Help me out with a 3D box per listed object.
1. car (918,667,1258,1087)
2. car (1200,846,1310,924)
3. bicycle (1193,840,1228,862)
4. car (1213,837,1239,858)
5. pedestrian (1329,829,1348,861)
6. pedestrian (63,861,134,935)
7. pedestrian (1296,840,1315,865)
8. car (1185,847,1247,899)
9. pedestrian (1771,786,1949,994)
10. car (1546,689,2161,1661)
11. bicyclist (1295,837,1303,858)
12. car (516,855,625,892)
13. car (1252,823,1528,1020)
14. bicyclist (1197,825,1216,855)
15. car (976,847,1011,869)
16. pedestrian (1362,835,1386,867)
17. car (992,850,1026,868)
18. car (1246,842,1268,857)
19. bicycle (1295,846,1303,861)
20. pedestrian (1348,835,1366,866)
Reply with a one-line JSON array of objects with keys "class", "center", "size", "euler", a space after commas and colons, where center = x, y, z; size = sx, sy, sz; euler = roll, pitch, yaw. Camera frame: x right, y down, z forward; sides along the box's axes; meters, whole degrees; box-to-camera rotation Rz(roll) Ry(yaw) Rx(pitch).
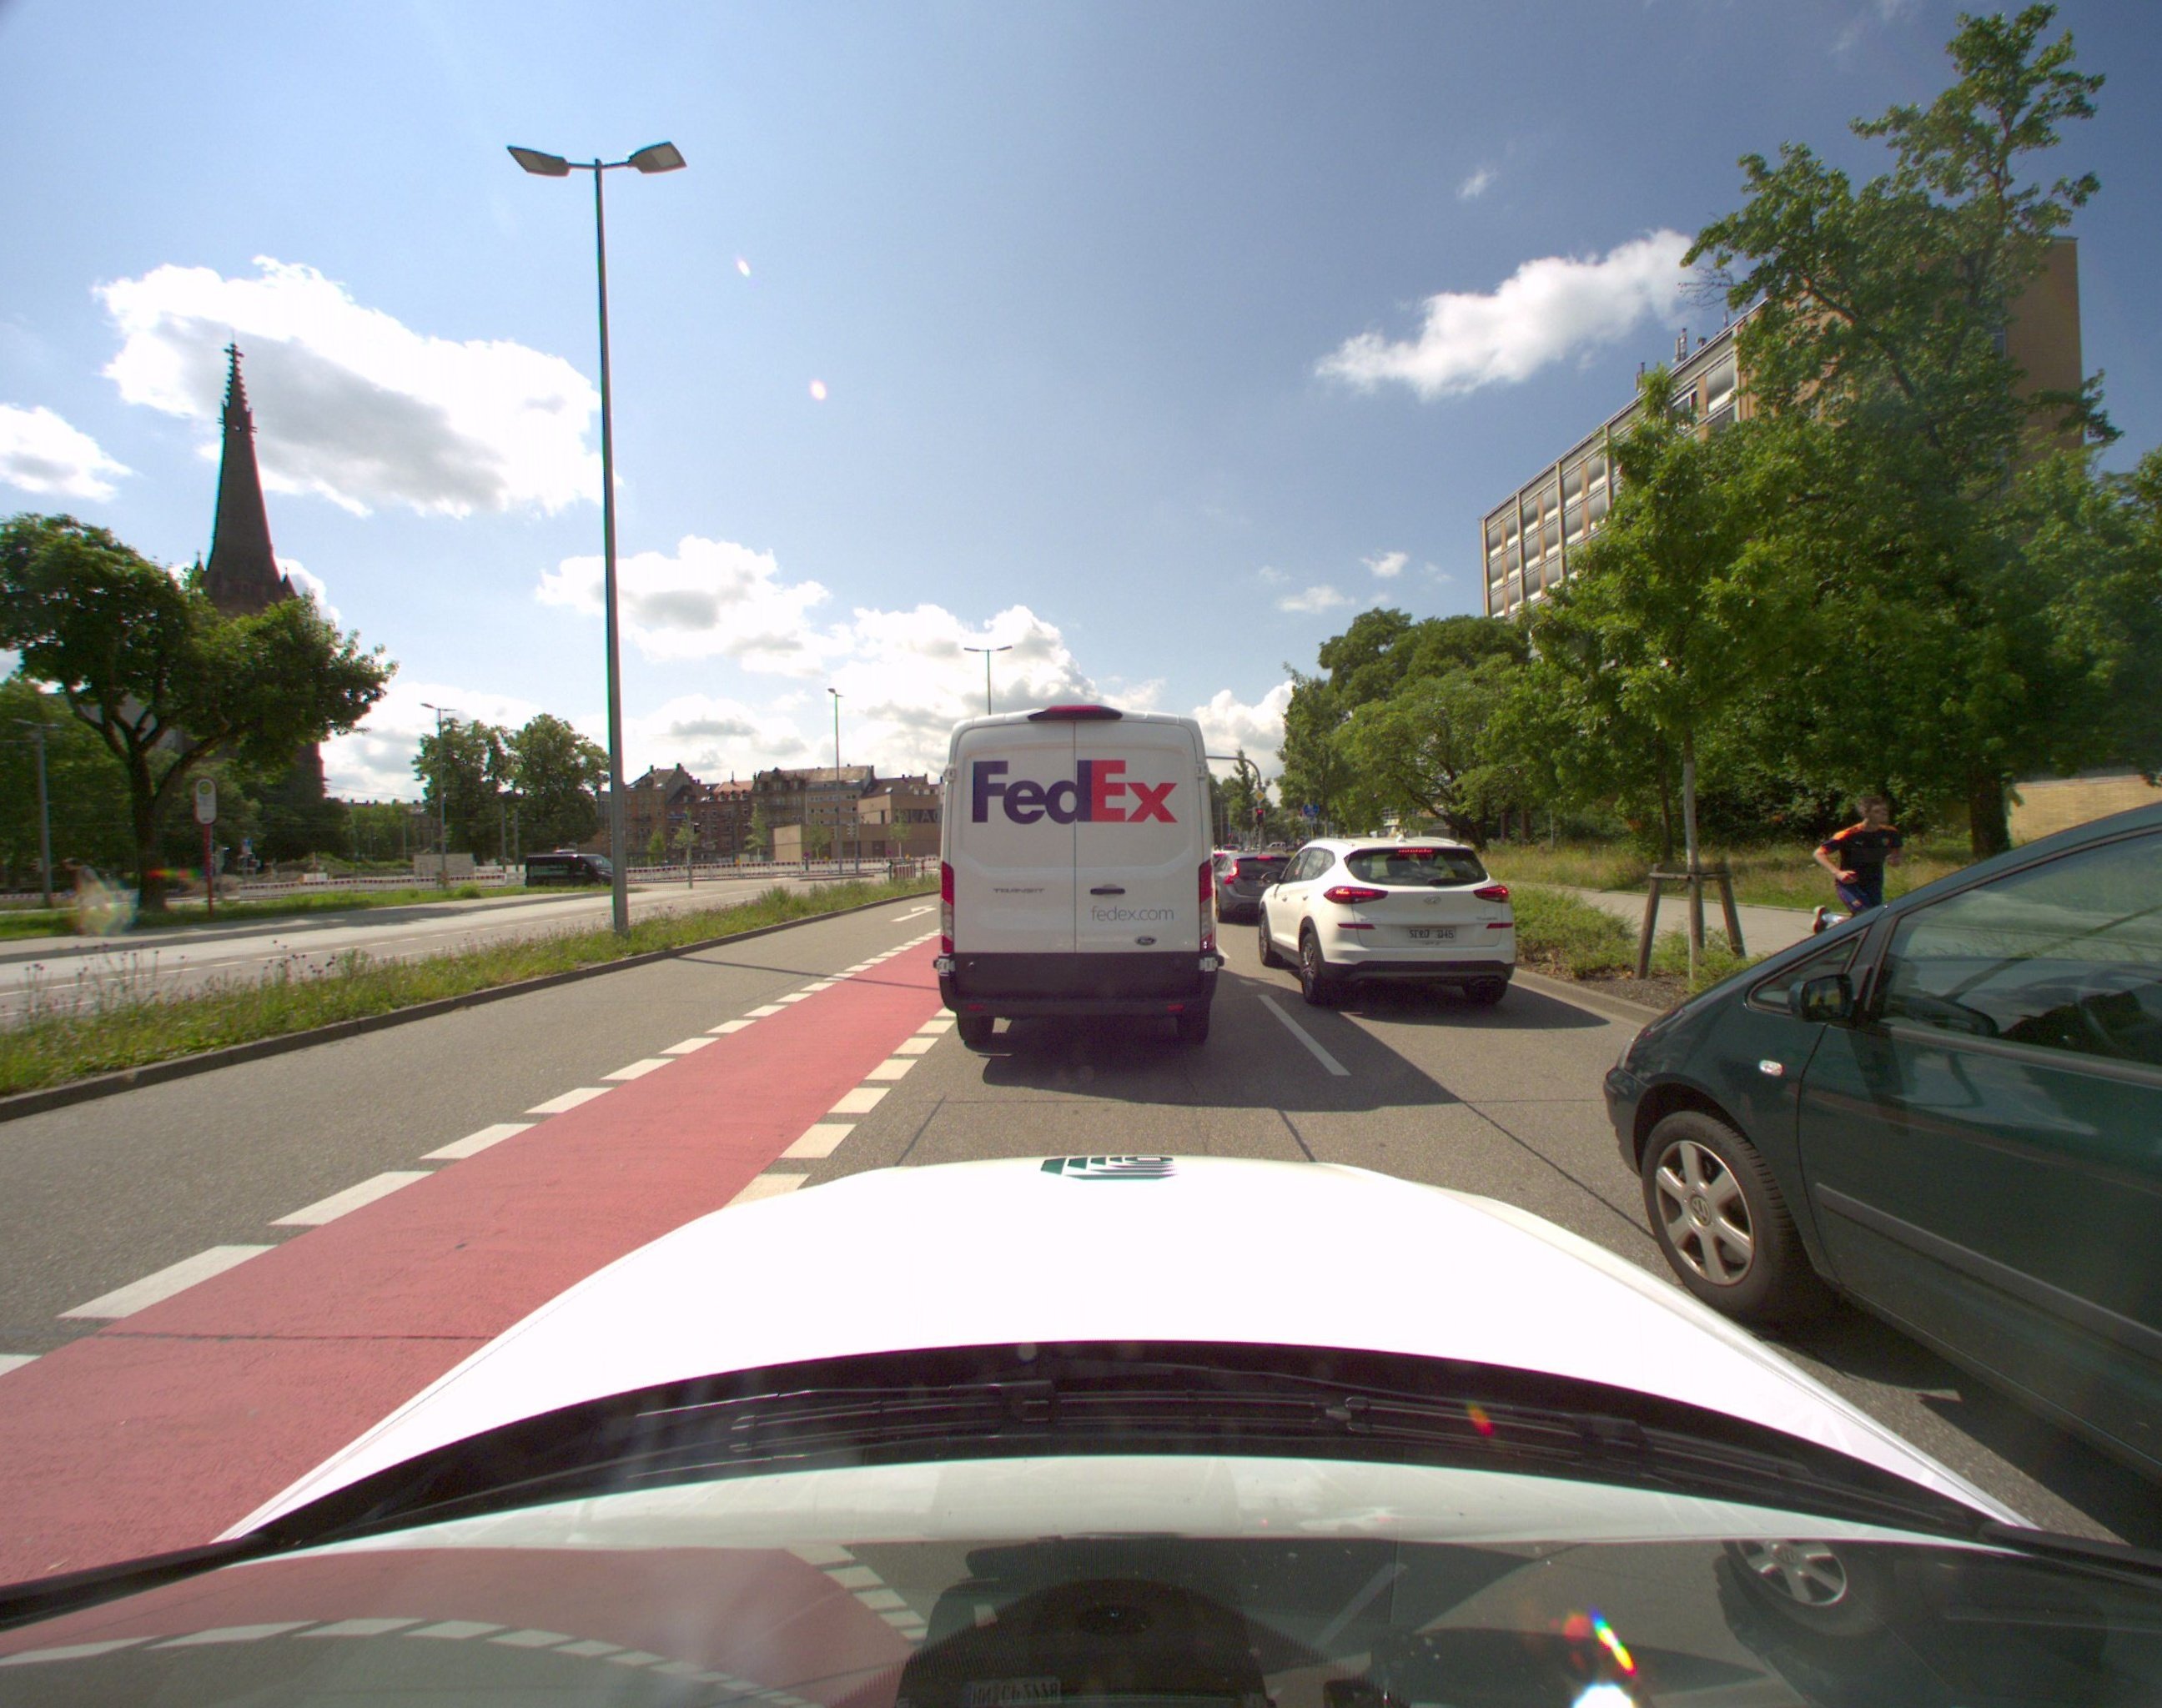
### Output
[{"class": "car", "center": [0.044, 0.137, 8.084], "size": [2.134, 2.652, 5.703], "euler": [-1, 0, 0]}, {"class": "car", "center": [3.677, 0.591, 17.831], "size": [1.790, 1.461, 3.842], "euler": [-2, 0, 4]}, {"class": "bicycle", "center": [8.067, -0.200, 50.693], "size": [2.055, 1.290, 0.605], "euler": [-2, 0, 4]}, {"class": "car", "center": [14.964, -0.647, 83.888], "size": [2.077, 2.013, 4.664], "euler": [-2, 0, 16]}, {"class": "pedestrian", "center": [16.853, -0.575, 53.274], "size": [0.849, 2.058, 0.734], "euler": [-2, 0, -27]}, {"class": "pedestrian", "center": [-21.806, 0.959, 18.082], "size": [0.548, 1.560, 0.881], "euler": [-2, 0, 30]}, {"class": "pedestrian", "center": [13.087, -0.097, 47.481], "size": [0.842, 1.389, 0.741], "euler": [-2, 0, 1]}, {"class": "car", "center": [4.010, 0.516, 24.603], "size": [1.478, 1.428, 3.436], "euler": [-2, 0, 4]}, {"class": "pedestrian", "center": [7.511, 0.328, 7.896], "size": [0.947, 1.892, 0.774], "euler": [-2, 0, 1]}, {"class": "car", "center": [2.816, 0.565, 1.247], "size": [1.805, 1.734, 4.390], "euler": [-1, 0, 2]}, {"class": "bicyclist", "center": [15.599, -0.491, 58.314], "size": [0.546, 1.474, 0.975], "euler": [-2, 0, 14]}, {"class": "car", "center": [-29.546, 1.116, 47.227], "size": [4.995, 1.879, 1.928], "euler": [-2, 1, -2]}, {"class": "car", "center": [3.137, 0.580, 9.174], "size": [1.790, 1.687, 4.004], "euler": [-2, 0, 4]}, {"class": "bicyclist", "center": [7.823, -0.875, 50.714], "size": [1.114, 1.844, 0.594], "euler": [-2, 1, 4]}, {"class": "car", "center": [-8.655, 0.375, 81.056], "size": [1.978, 2.013, 4.017], "euler": [-2, 0, 16]}, {"class": "pedestrian", "center": [14.537, -0.140, 40.421], "size": [0.842, 1.539, 0.835], "euler": [-2, 0, 1]}, {"class": "car", "center": [-6.946, 0.455, 78.698], "size": [1.886, 1.585, 4.017], "euler": [-2, 0, 16]}, {"class": "car", "center": [22.164, -0.514, 102.548], "size": [1.977, 1.794, 4.393], "euler": [-2, 0, 20]}, {"class": "bicycle", "center": [15.608, -0.041, 58.359], "size": [0.542, 1.030, 1.934], "euler": [-2, 0, 14]}, {"class": "pedestrian", "center": [18.163, -0.211, 53.653], "size": [0.843, 2.013, 0.740], "euler": [-2, 0, -3]}]
